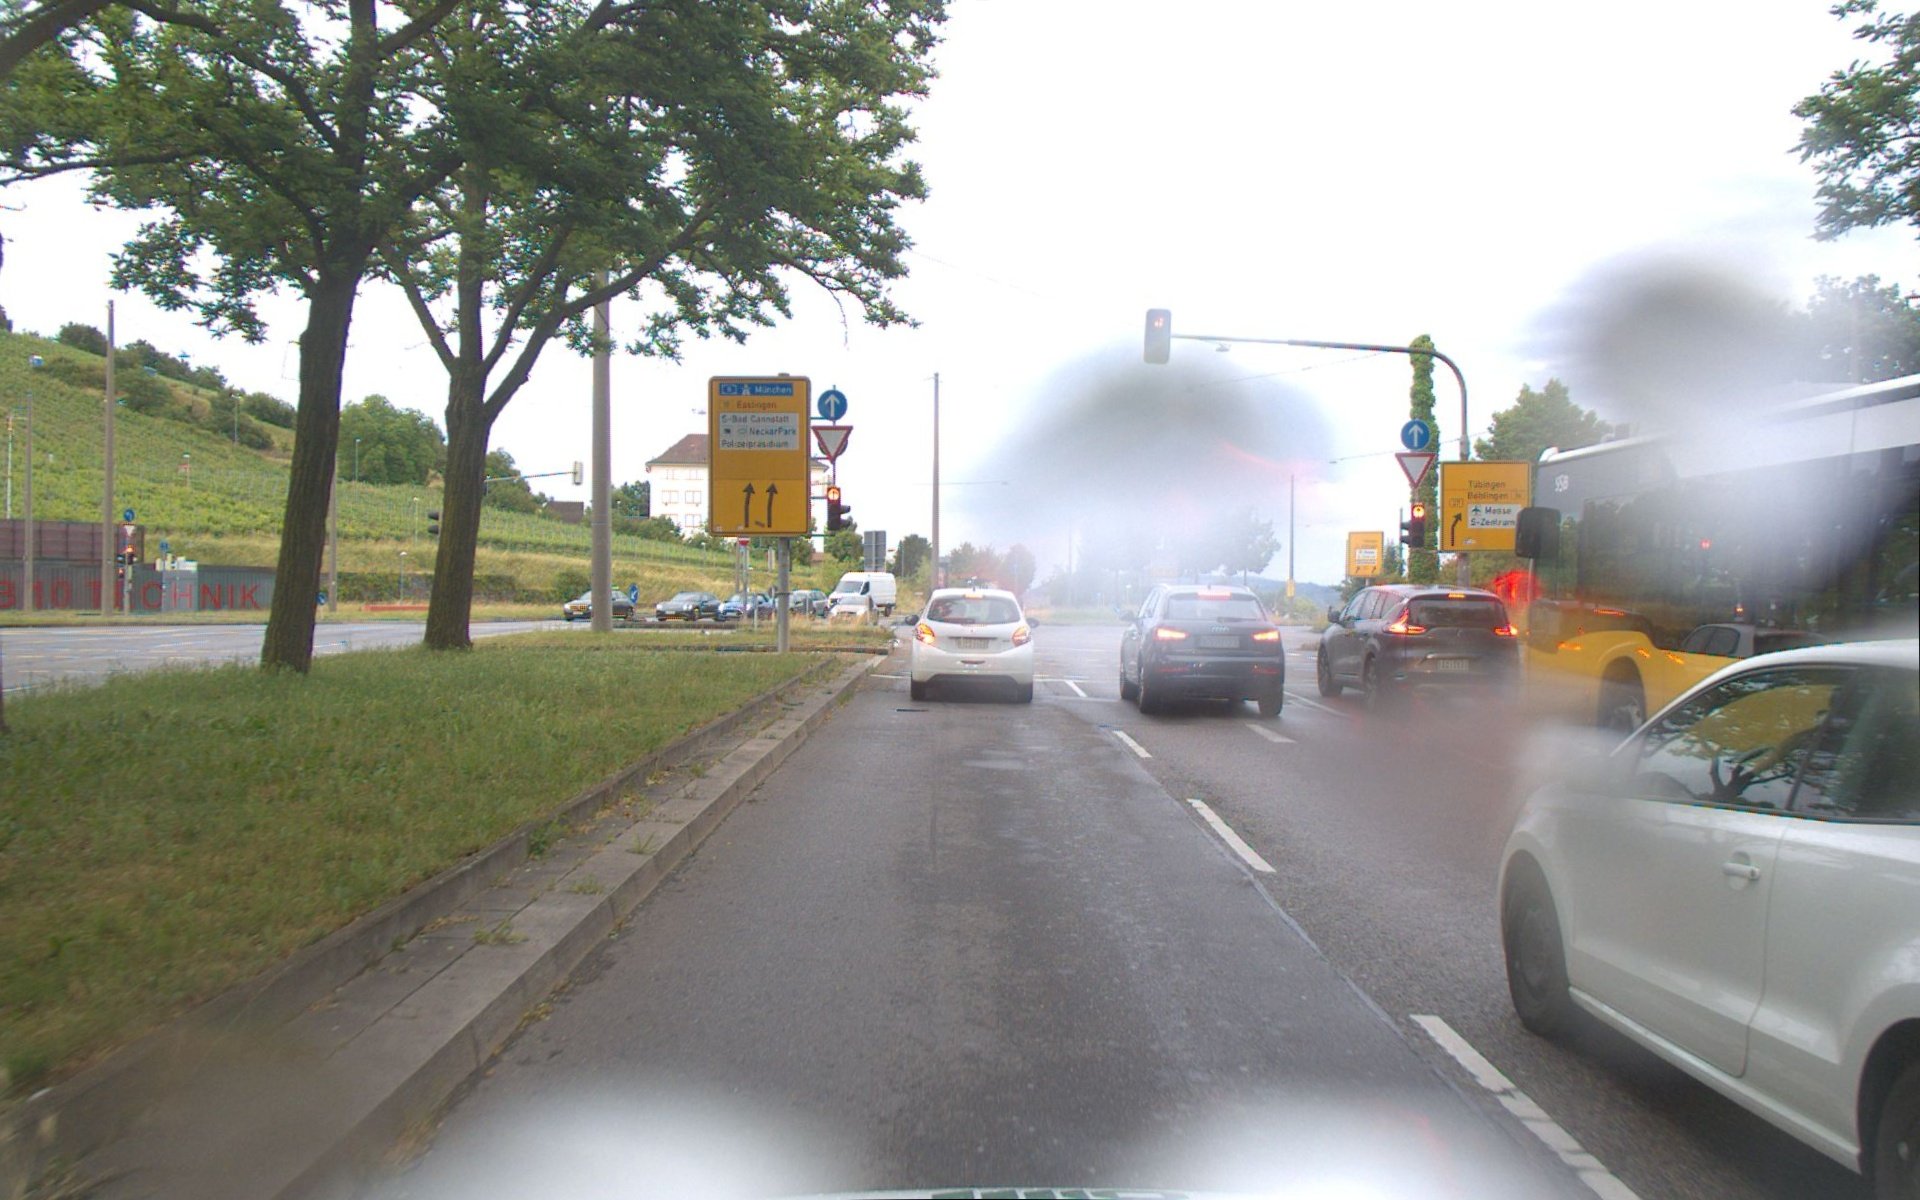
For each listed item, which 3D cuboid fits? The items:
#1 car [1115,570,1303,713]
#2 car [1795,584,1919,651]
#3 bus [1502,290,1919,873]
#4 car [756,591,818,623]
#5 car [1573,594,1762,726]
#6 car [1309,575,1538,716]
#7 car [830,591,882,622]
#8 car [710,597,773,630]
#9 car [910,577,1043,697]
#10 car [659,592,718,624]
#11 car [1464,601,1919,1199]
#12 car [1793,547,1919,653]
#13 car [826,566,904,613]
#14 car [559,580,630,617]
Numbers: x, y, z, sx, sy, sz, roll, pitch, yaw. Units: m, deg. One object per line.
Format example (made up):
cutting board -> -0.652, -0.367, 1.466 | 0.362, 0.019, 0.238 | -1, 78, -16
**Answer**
car -> 3.166, 0.504, 21.792 | 1.845, 1.623, 4.113 | 2, 0, 1
car -> 23.708, 0.466, 42.463 | 3.968, 1.596, 1.870 | 1, -2, 25
bus -> 6.632, -0.080, 10.202 | 2.671, 3.206, 12.148 | 2, 1, 1
car -> -8.734, 0.382, 84.029 | 1.861, 1.515, 4.896 | 2, 0, 9
car -> 9.206, 0.744, 21.350 | 1.829, 1.524, 4.145 | -2, -2, 29
car -> 6.234, 0.530, 22.799 | 1.827, 1.703, 4.565 | 1, 1, 0
car -> -4.903, 0.321, 78.321 | 1.738, 1.450, 4.376 | 0, -1, 6
car -> -10.194, 0.648, 77.449 | 1.748, 1.420, 3.885 | 2, -1, 11
car -> 0.223, 0.486, 23.383 | 1.682, 1.515, 4.000 | 1, 0, 0
car -> -13.025, 0.413, 79.512 | 1.748, 1.420, 3.884 | 2, -1, 6
car -> 2.882, 0.770, 4.593 | 1.705, 1.457, 3.811 | 2, 0, -1
car -> 25.855, 0.028, 44.715 | 5.894, 2.789, 2.078 | 1, -1, 27
car -> -5.769, -0.615, 101.345 | 1.955, 2.604, 6.163 | 2, 0, 26
car -> -17.207, -0.049, 78.059 | 1.790, 1.652, 4.569 | 2, 0, 7
